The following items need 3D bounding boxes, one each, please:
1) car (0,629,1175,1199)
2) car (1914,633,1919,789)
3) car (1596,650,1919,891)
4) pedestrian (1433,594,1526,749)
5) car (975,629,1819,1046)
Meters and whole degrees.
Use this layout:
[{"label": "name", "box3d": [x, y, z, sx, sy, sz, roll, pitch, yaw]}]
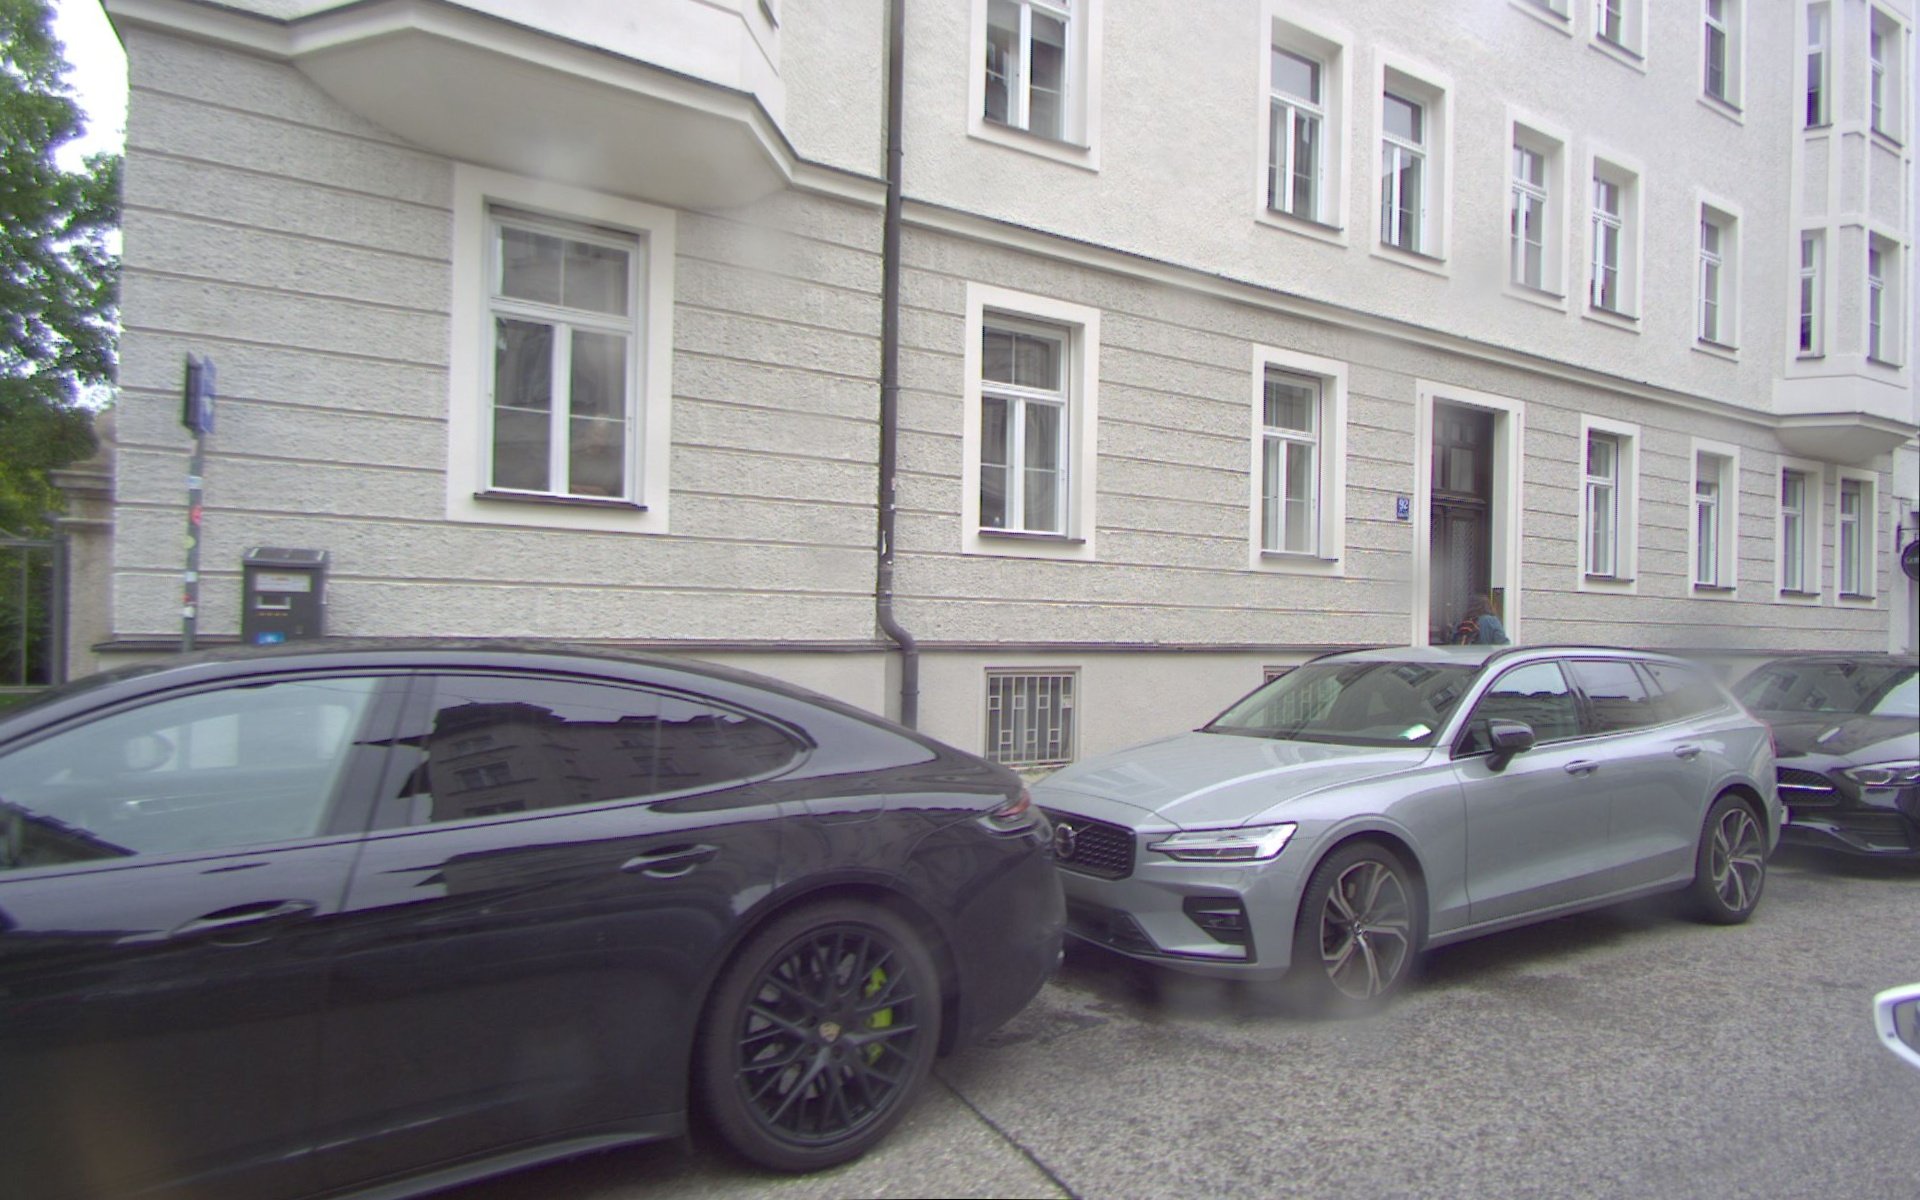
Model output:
[{"label": "car", "box3d": [-1.746, 0.805, 2.916, 4.648, 1.385, 1.840, 2, -1, -31]}, {"label": "car", "box3d": [11.447, 1.120, 9.977, 4.130, 1.506, 1.734, 2, -1, -29]}, {"label": "car", "box3d": [7.058, 1.107, 7.878, 4.395, 1.403, 1.801, 2, -3, -32]}, {"label": "pedestrian", "box3d": [6.030, 0.811, 11.669, 0.658, 1.729, 0.694, 2, -1, -31]}, {"label": "car", "box3d": [2.440, 0.949, 5.368, 4.455, 1.438, 1.787, 2, -4, -29]}]
